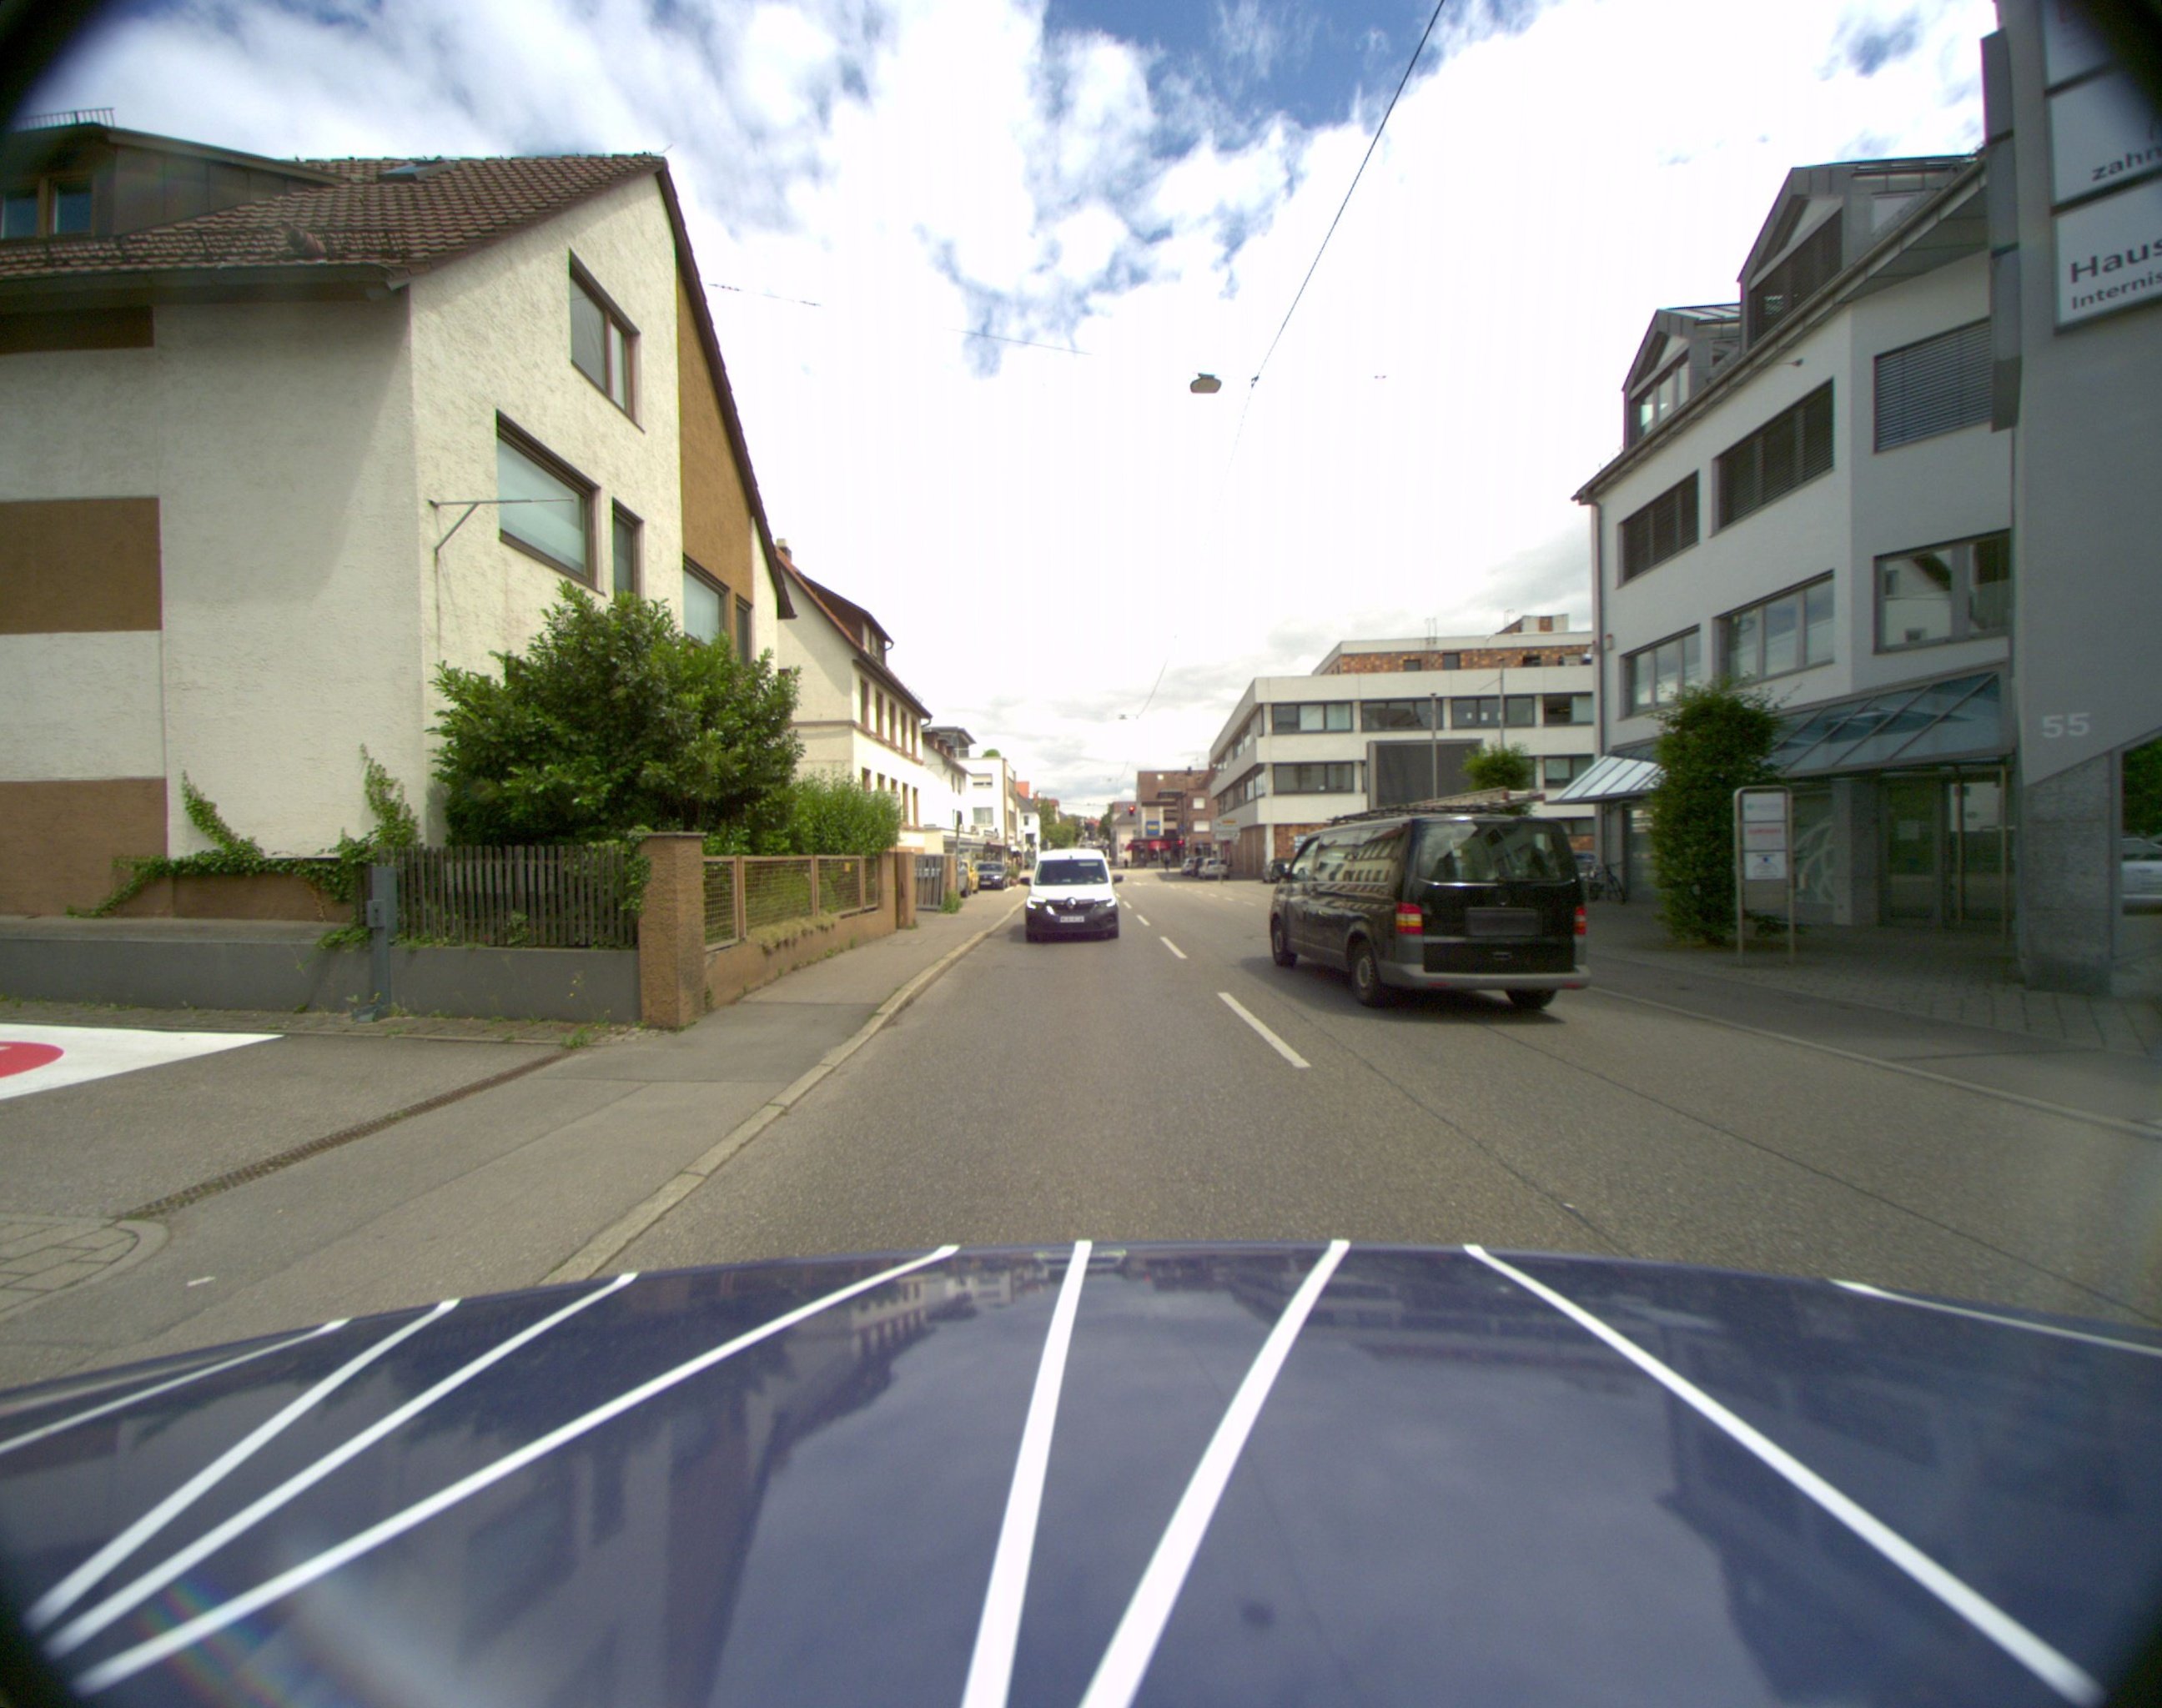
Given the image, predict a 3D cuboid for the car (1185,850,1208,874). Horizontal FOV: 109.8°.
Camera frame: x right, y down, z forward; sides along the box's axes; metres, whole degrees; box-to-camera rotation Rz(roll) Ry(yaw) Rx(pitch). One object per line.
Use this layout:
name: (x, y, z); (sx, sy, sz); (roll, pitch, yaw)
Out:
car: (9.566, 0.633, 63.086); (1.701, 1.766, 4.463); (-2, 1, 7)

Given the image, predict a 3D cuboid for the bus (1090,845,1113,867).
bus: (3.095, 0.256, 118.476); (3.133, 3.239, 9.749); (-2, 1, -1)

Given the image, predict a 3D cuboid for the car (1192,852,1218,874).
car: (9.448, 0.660, 58.075); (1.808, 1.521, 4.002); (-2, 1, 8)

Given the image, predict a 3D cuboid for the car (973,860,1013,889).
car: (-4.518, 1.030, 39.458); (1.656, 1.413, 3.999); (-1, 0, -2)

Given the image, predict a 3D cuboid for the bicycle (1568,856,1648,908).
bicycle: (12.489, 0.640, 18.070); (0.644, 1.135, 1.686); (-2, 1, -4)

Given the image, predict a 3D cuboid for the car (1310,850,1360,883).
car: (13.843, 0.648, 41.640); (1.896, 1.687, 3.802); (1, 1, 7)

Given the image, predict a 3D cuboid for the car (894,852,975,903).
car: (-4.954, 0.762, 26.263); (1.999, 1.609, 4.100); (-1, 0, -1)

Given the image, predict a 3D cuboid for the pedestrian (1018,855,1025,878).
pedestrian: (-5.307, 1.122, 67.941); (0.476, 2.009, 0.918); (-1, 0, 1)

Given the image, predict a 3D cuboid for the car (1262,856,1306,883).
car: (11.206, 0.832, 42.197); (1.824, 1.321, 4.238); (-2, 1, 7)

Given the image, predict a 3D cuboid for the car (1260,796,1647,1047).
car: (3.775, 0.582, 8.955); (2.116, 2.139, 4.882); (0, 0, -1)

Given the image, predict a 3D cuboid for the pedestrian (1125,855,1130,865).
pedestrian: (6.782, 0.869, 109.795); (0.669, 1.424, 0.778); (-1, 0, 5)

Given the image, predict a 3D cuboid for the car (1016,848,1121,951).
car: (-0.154, 0.812, 16.422); (1.870, 1.805, 5.007); (-2, 1, 2)

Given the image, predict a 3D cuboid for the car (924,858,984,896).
car: (-5.133, 0.896, 31.075); (1.926, 1.404, 3.999); (-1, 0, -3)

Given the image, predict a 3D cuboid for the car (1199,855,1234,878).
car: (9.105, 0.821, 51.296); (1.839, 1.418, 4.219); (-2, 1, 4)
